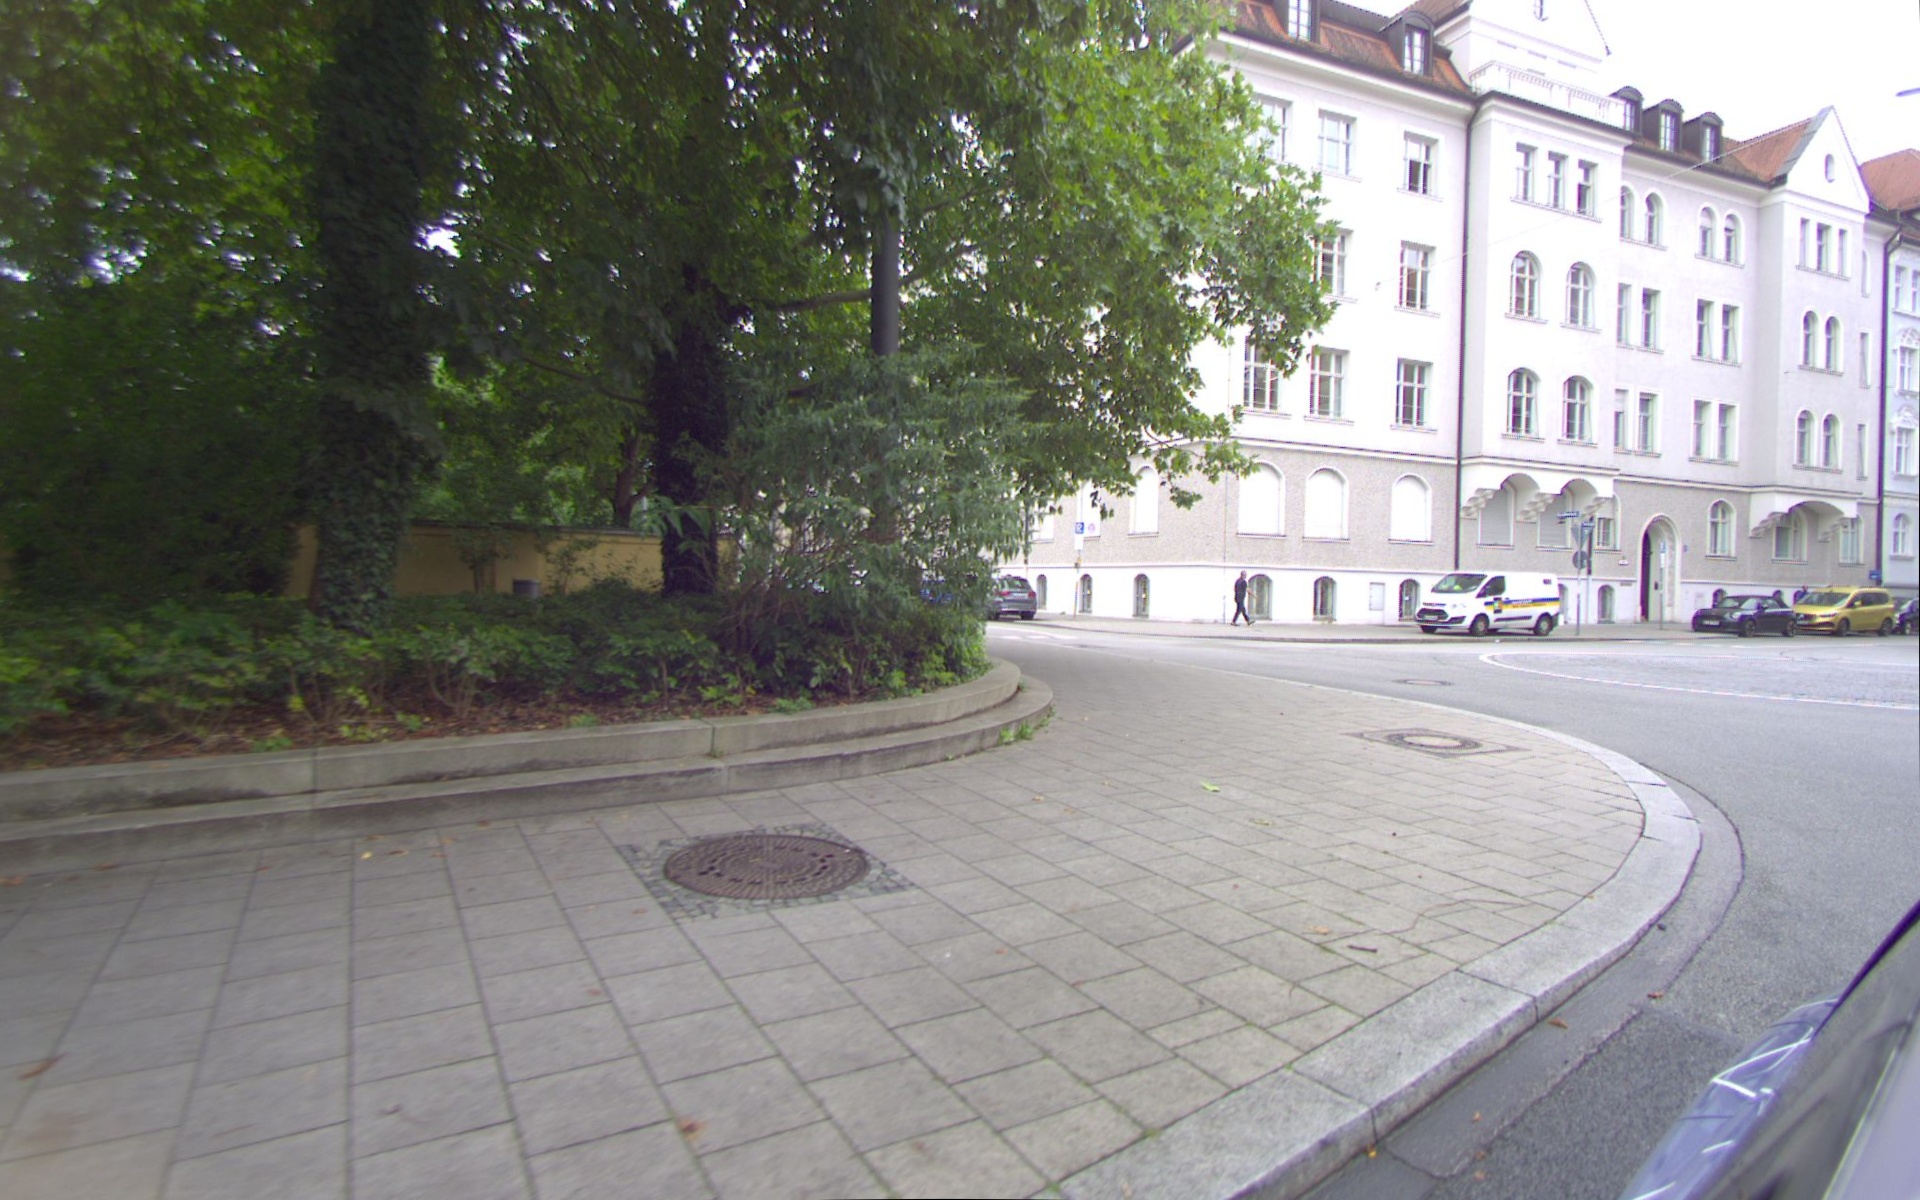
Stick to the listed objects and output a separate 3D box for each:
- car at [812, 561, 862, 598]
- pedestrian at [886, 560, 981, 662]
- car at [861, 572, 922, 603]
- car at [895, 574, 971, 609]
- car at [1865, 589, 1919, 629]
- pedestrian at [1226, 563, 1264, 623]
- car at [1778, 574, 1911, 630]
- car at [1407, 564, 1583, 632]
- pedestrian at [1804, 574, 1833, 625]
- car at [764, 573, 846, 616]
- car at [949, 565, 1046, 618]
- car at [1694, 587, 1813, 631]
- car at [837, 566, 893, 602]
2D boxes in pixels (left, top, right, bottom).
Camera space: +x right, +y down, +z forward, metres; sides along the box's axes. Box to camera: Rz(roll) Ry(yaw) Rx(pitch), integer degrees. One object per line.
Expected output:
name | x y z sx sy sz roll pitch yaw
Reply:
car | -7.268 -1.214 59.470 1.781 2.060 4.043 0 2 -24
pedestrian | -0.377 0.138 14.207 1.108 1.373 0.773 1 1 -22
car | -3.385 -0.632 49.744 1.760 1.422 3.848 0 2 -24
car | -1.258 -0.392 44.719 1.853 1.422 4.259 0 2 -24
car | 37.847 0.349 39.986 3.804 1.533 1.642 1 1 -23
pedestrian | 8.851 -0.234 31.426 0.921 1.823 0.991 1 1 27
car | 32.975 0.059 37.718 4.476 1.942 2.004 0 1 -24
car | 16.559 -0.070 31.294 5.262 1.945 1.949 0 2 -24
pedestrian | 34.503 -0.024 40.672 0.712 2.039 0.586 1 1 -21
car | -5.445 -0.221 35.053 1.763 1.385 4.475 1 1 -23
car | 1.308 -0.361 37.313 1.853 1.818 4.259 0 2 -24
car | 28.049 0.303 35.782 3.747 1.463 1.721 0 1 -23
car | -5.056 -0.853 53.539 1.760 1.805 3.848 0 2 -24
